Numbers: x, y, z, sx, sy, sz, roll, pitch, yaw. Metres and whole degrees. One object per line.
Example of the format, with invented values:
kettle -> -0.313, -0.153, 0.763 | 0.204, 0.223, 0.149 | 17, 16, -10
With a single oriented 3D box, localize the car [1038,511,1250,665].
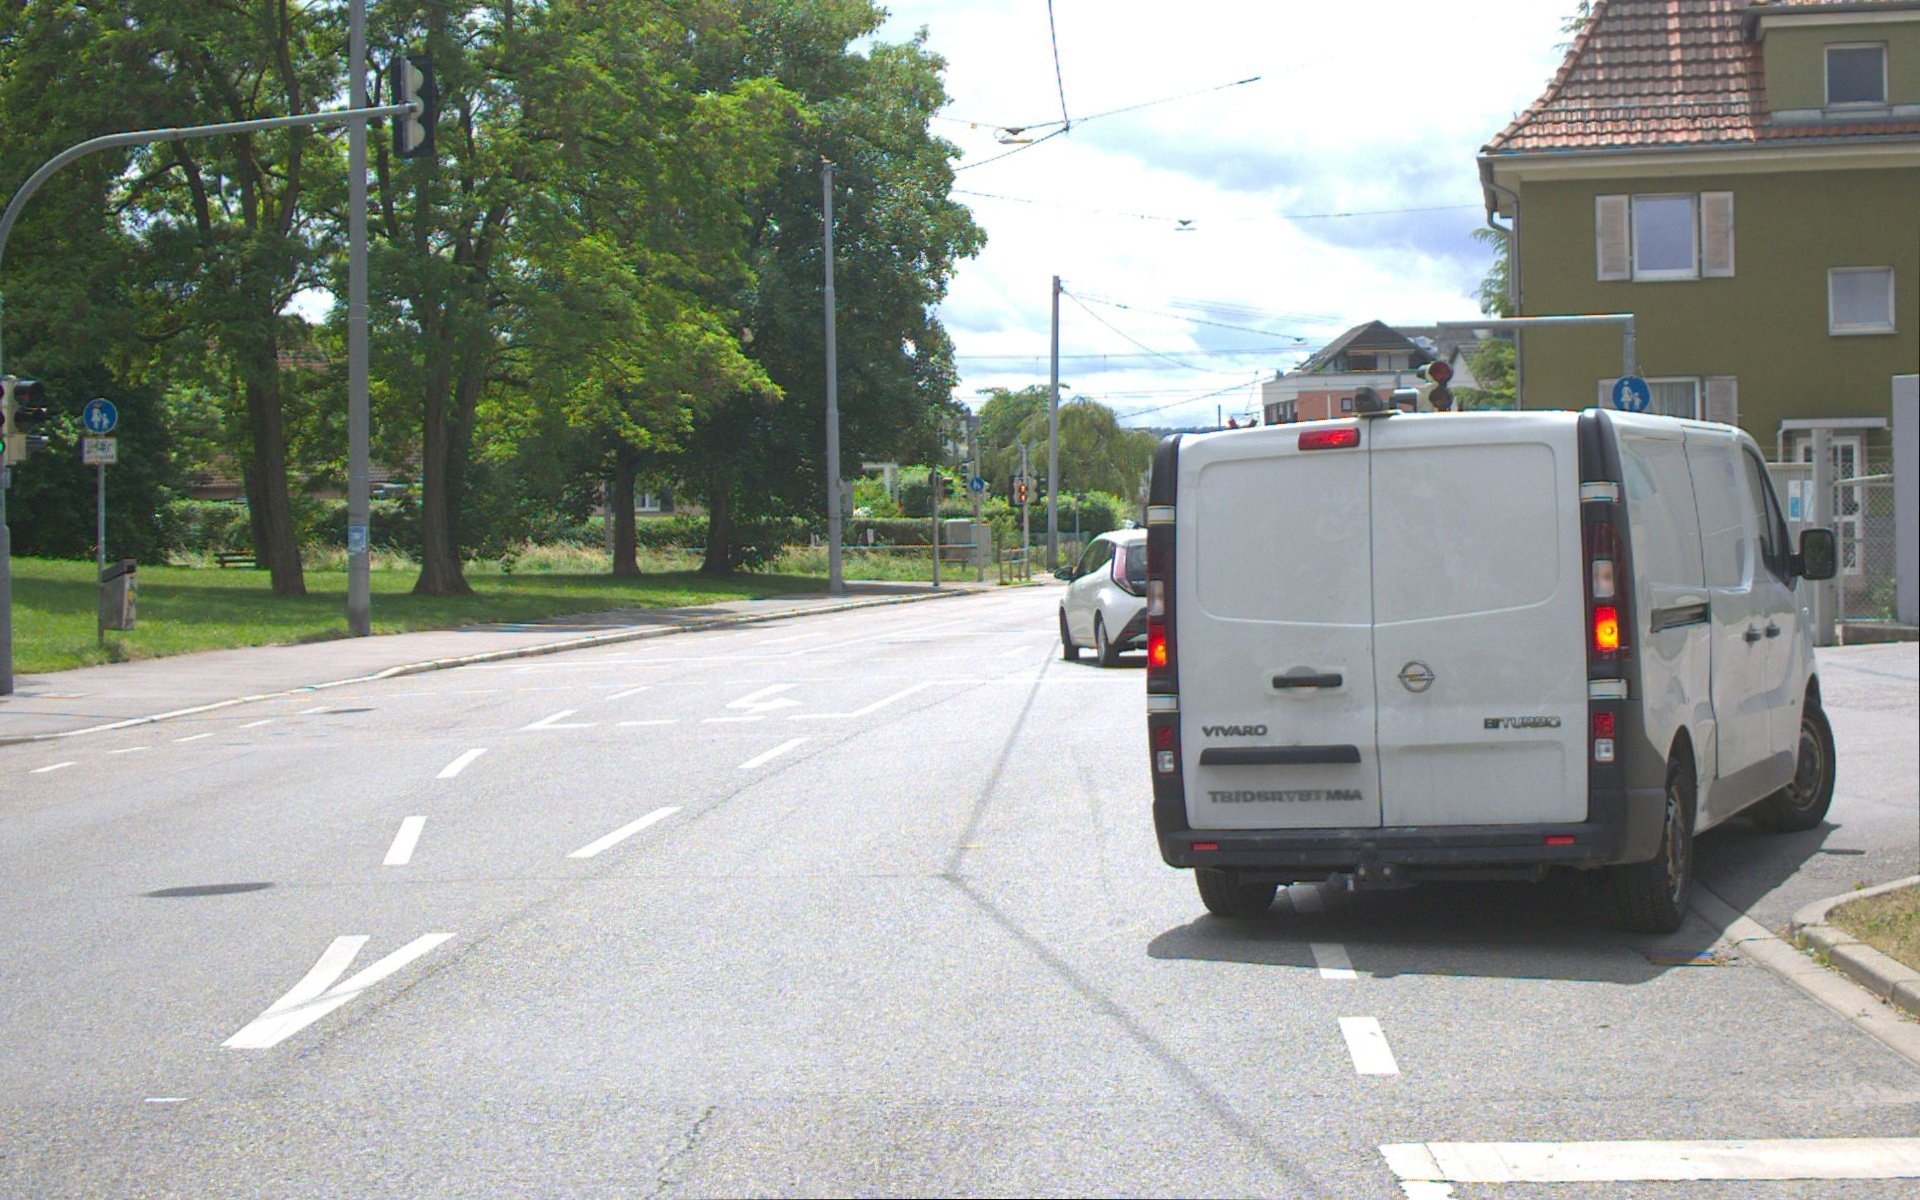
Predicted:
car -> 1.968, -0.166, 37.847 | 1.603, 1.601, 4.001 | 0, 1, -8

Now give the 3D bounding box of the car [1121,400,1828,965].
car -> 2.360, 0.192, 14.473 | 1.941, 1.954, 4.828 | 1, 2, 21
